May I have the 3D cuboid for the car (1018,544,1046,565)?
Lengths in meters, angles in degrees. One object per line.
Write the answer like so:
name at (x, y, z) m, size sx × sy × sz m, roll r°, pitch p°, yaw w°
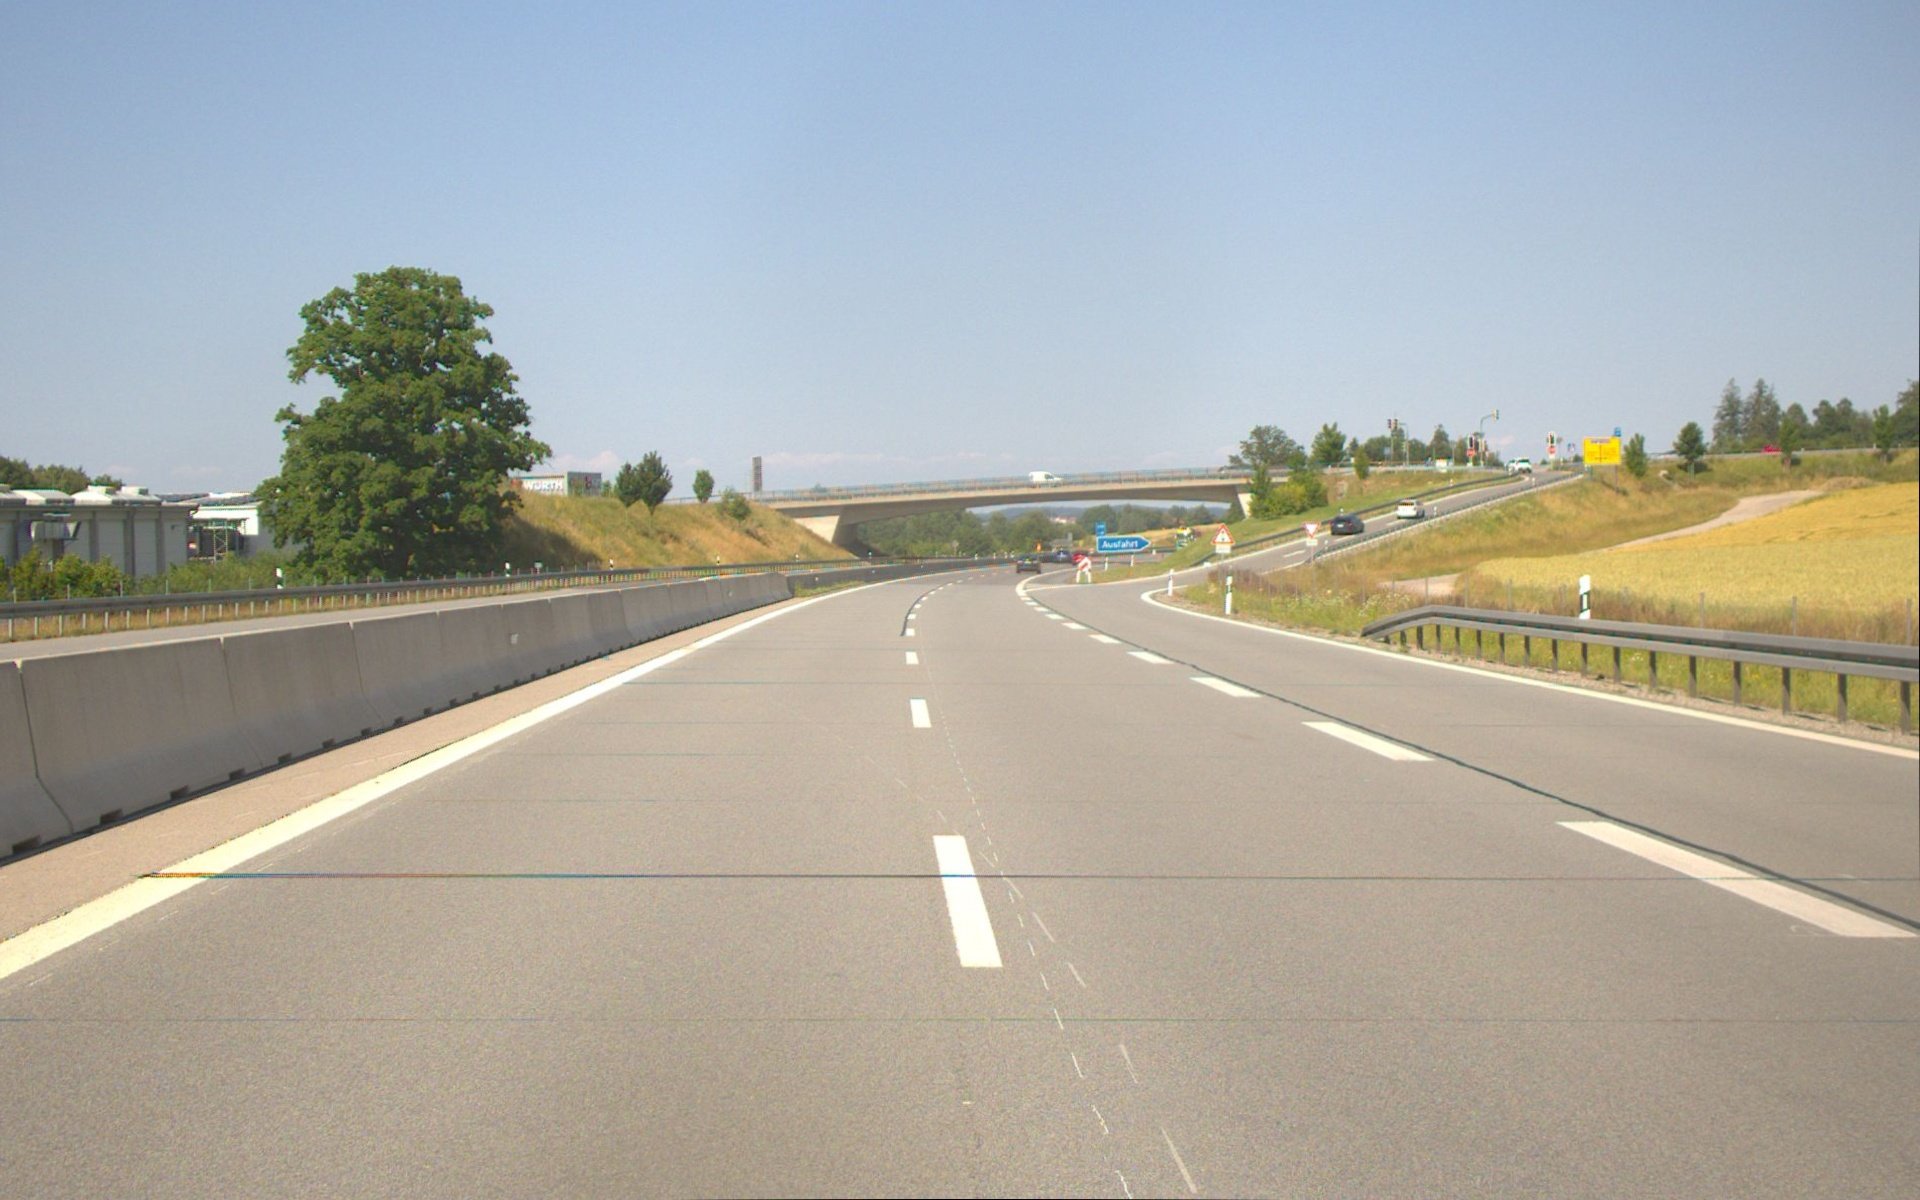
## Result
car at (5.373, -3.386, 255.272) m, size 1.994 × 1.415 × 4.000 m, roll -2°, pitch 1°, yaw 2°
